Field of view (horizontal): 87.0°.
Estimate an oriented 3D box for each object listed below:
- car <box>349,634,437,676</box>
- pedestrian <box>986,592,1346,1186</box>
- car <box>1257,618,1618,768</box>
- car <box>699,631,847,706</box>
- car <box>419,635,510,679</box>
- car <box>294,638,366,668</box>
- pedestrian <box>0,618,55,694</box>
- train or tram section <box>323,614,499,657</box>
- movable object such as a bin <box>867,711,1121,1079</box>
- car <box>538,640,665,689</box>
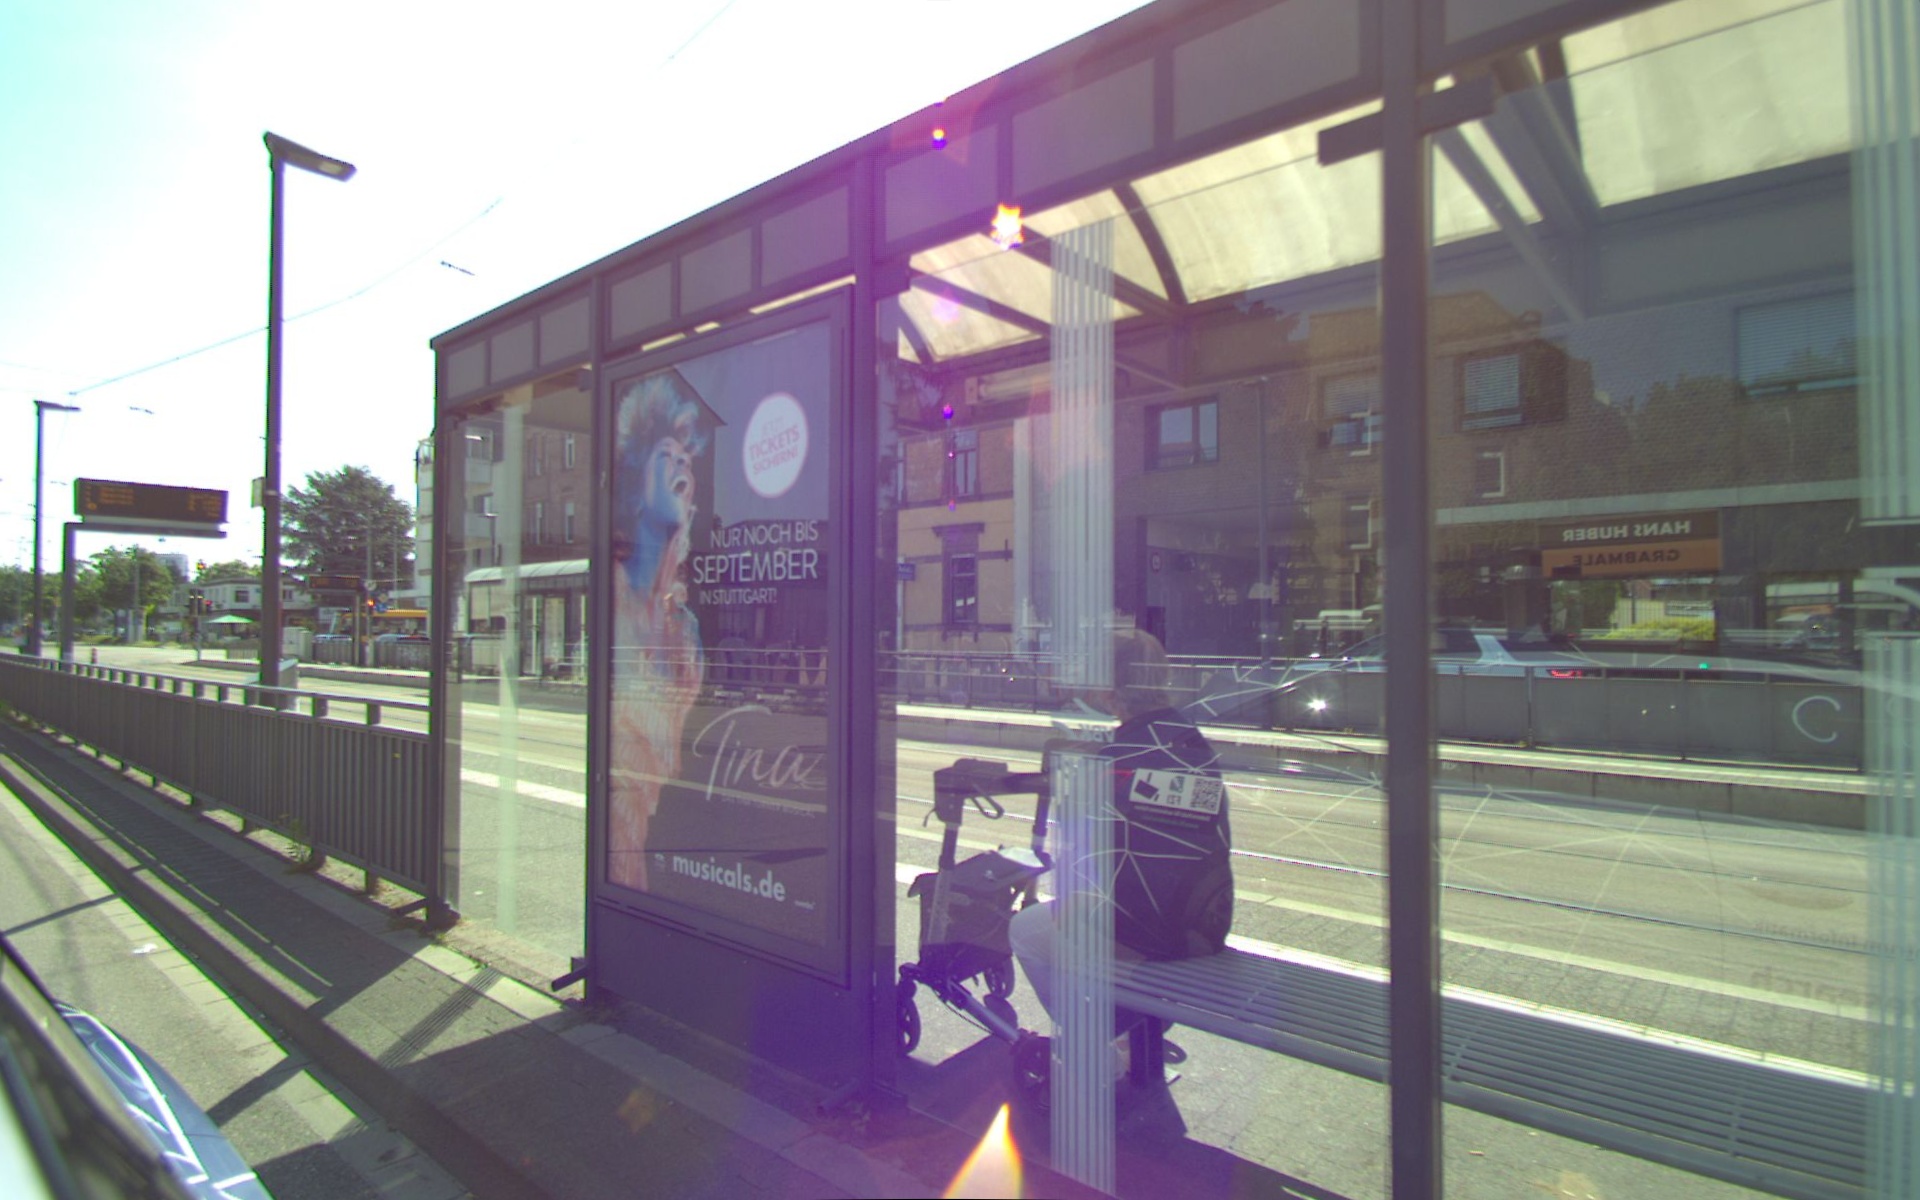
[{"bbox_3d":[-22.921,2.218,40.851,4.471,1.527,1.694,-3,-1,41],"label":"car"},{"bbox_3d":[0.535,0.632,2.649,0.709,1.264,0.623,-2,-3,41],"label":"pedestrian"},{"bbox_3d":[6.526,1.174,14.106,4.187,1.742,1.782,-2,-1,42],"label":"car"},{"bbox_3d":[-4.560,1.588,24.441,3.578,1.635,1.694,-2,-2,42],"label":"car"},{"bbox_3d":[-17.711,2.022,36.142,3.864,1.480,1.608,-3,-3,42],"label":"car"},{"bbox_3d":[-28.910,2.415,46.416,4.077,1.253,1.694,-2,-1,41],"label":"car"},{"bbox_3d":[-23.684,1.408,25.626,1.237,1.873,0.970,-2,-3,42],"label":"pedestrian"},{"bbox_3d":[-46.952,3.027,87.129,2.688,3.507,13.150,-2,-2,42],"label":"train or tram section"},{"bbox_3d":[0.113,0.820,3.072,0.488,0.907,0.623,-2,-3,41],"label":"movable object such as a bin"},{"bbox_3d":[-10.858,1.894,30.513,4.519,1.374,1.614,-2,-3,41],"label":"car"}]
